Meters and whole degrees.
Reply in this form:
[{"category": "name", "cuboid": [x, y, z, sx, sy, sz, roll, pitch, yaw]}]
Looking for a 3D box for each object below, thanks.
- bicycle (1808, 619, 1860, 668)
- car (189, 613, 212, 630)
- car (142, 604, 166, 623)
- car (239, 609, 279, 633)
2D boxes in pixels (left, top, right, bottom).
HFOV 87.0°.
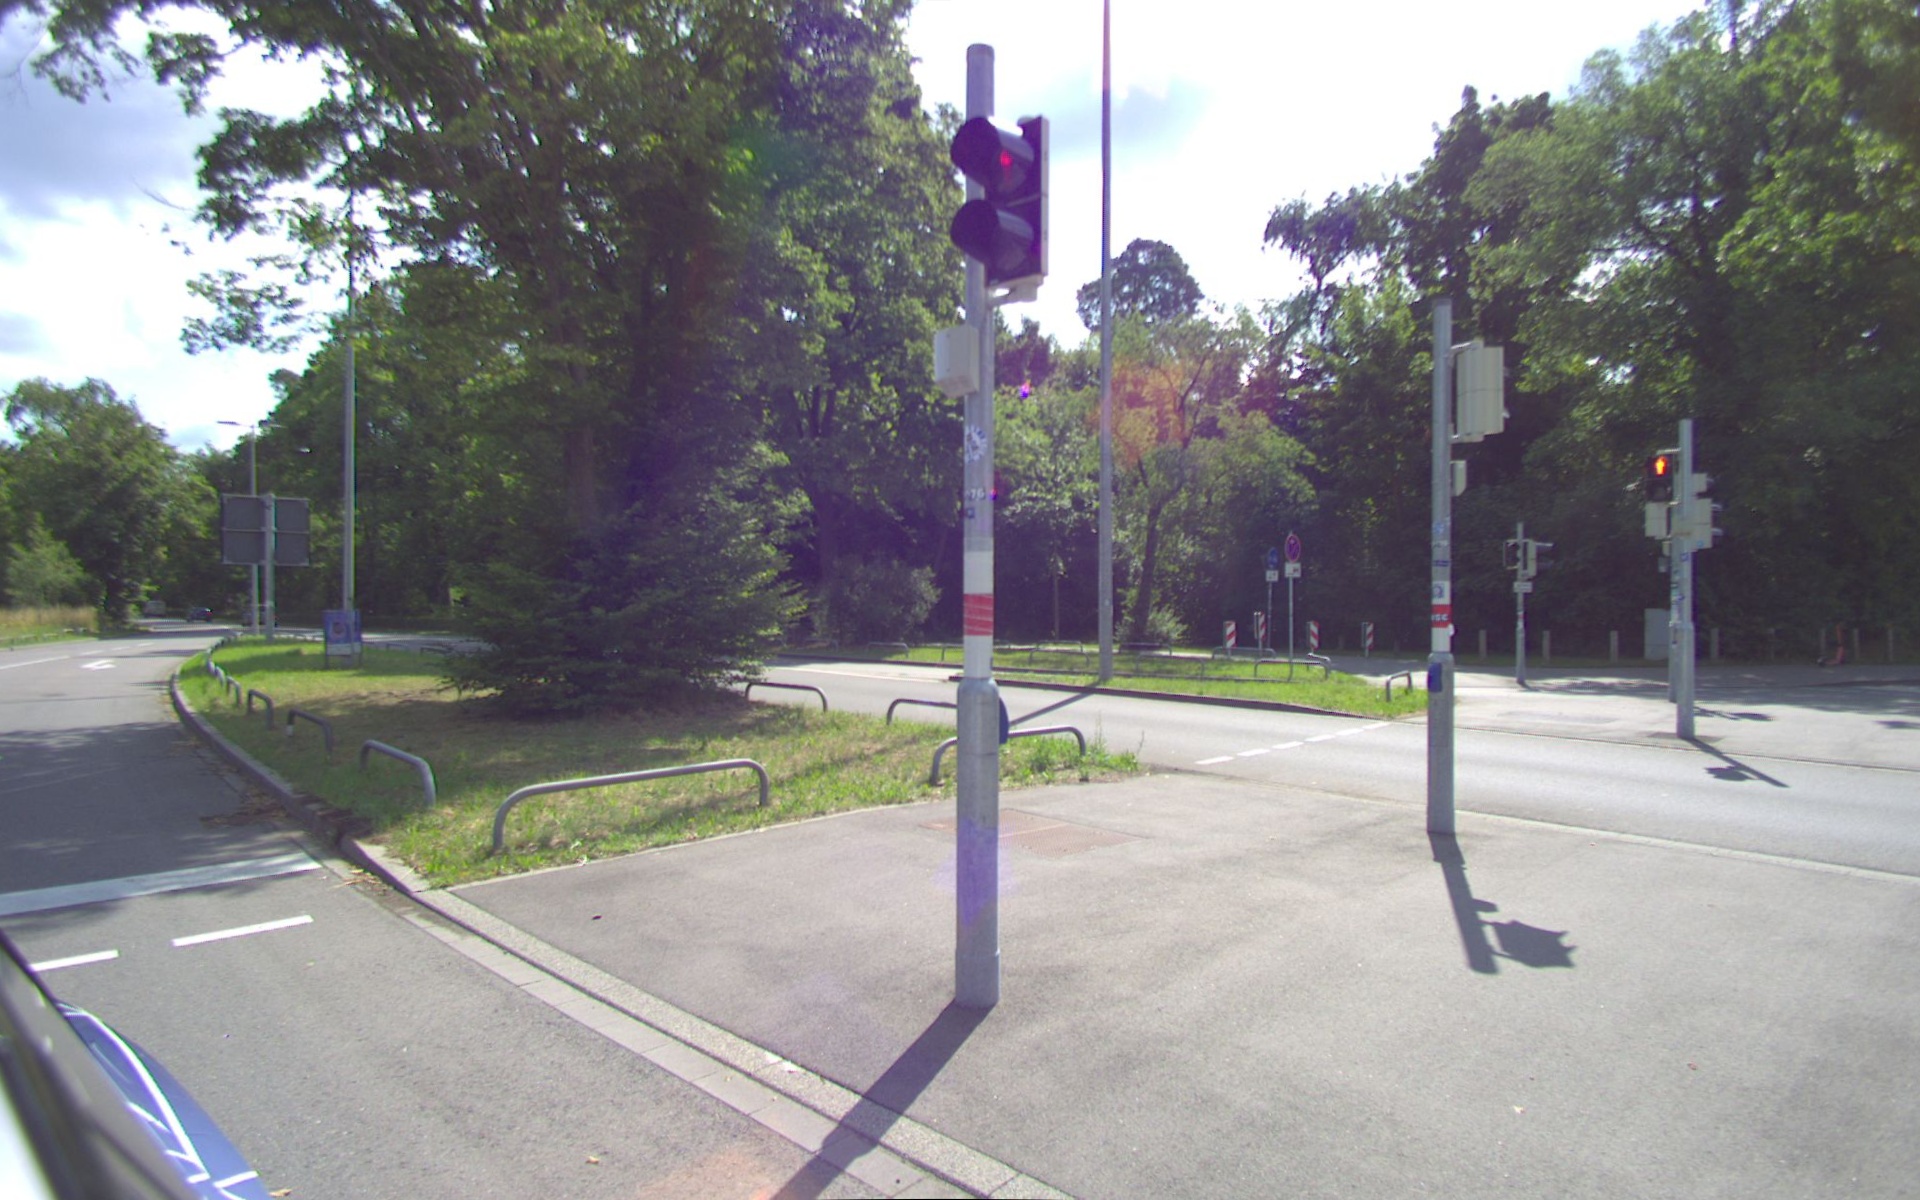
[{"category": "bicycle", "cuboid": [21.579, 1.061, 24.979, 1.208, 1.182, 0.422, 1, 0, -19]}, {"category": "car", "cuboid": [-75.158, 2.114, 100.163, 1.673, 1.457, 4.075, -1, 1, -38]}, {"category": "car", "cuboid": [-109.572, 1.854, 137.557, 1.952, 2.449, 5.367, -1, 1, -44]}, {"category": "car", "cuboid": [-50.747, 1.485, 73.226, 1.740, 1.642, 4.303, -2, 1, -43]}]
